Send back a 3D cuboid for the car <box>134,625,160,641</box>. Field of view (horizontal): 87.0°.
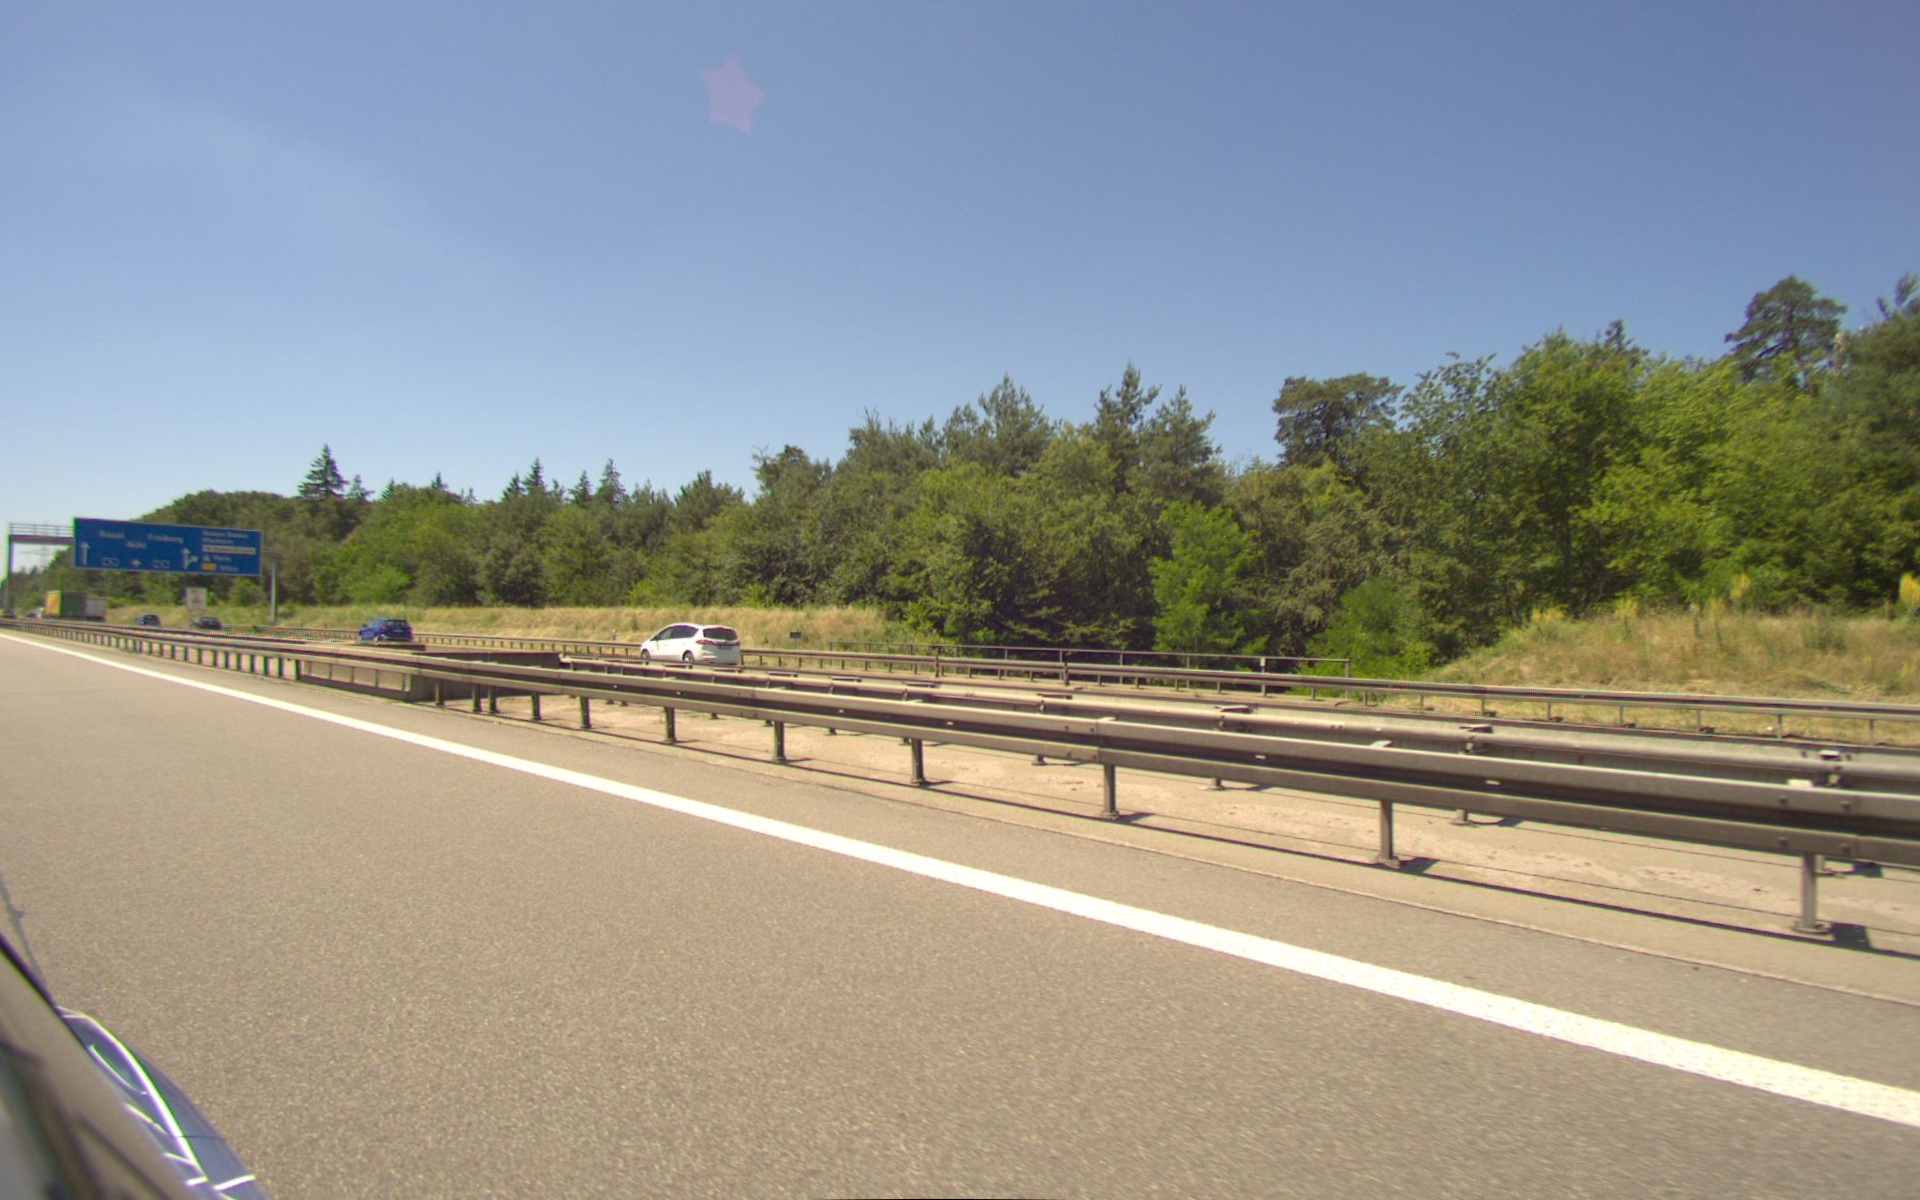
[{"bbox_3d":[-88.839,3.588,110.563,4.110,1.551,1.507,-1,-5,43],"label":"car"}]

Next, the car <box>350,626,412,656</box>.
[{"bbox_3d":[-32.673,2.284,57.103,4.535,1.557,1.683,-1,-5,43],"label":"car"}]

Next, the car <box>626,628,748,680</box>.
[{"bbox_3d":[-9.797,1.890,36.072,5.116,1.674,1.683,-1,-5,43],"label":"car"}]

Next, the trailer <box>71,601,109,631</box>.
[{"bbox_3d":[-123.269,2.228,143.277,11.157,3.978,2.596,-1,-5,43],"label":"trailer"}]

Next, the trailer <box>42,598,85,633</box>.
[{"bbox_3d":[-112.064,1.981,126.426,14.278,4.104,2.437,-1,-5,43],"label":"trailer"}]

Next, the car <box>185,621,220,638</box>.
[{"bbox_3d":[-68.521,2.665,91.507,4.889,1.376,1.657,-1,-5,43],"label":"car"}]

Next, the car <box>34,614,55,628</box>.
[{"bbox_3d":[-164.144,3.814,181.428,5.808,2.358,1.966,-1,-5,42],"label":"car"}]
